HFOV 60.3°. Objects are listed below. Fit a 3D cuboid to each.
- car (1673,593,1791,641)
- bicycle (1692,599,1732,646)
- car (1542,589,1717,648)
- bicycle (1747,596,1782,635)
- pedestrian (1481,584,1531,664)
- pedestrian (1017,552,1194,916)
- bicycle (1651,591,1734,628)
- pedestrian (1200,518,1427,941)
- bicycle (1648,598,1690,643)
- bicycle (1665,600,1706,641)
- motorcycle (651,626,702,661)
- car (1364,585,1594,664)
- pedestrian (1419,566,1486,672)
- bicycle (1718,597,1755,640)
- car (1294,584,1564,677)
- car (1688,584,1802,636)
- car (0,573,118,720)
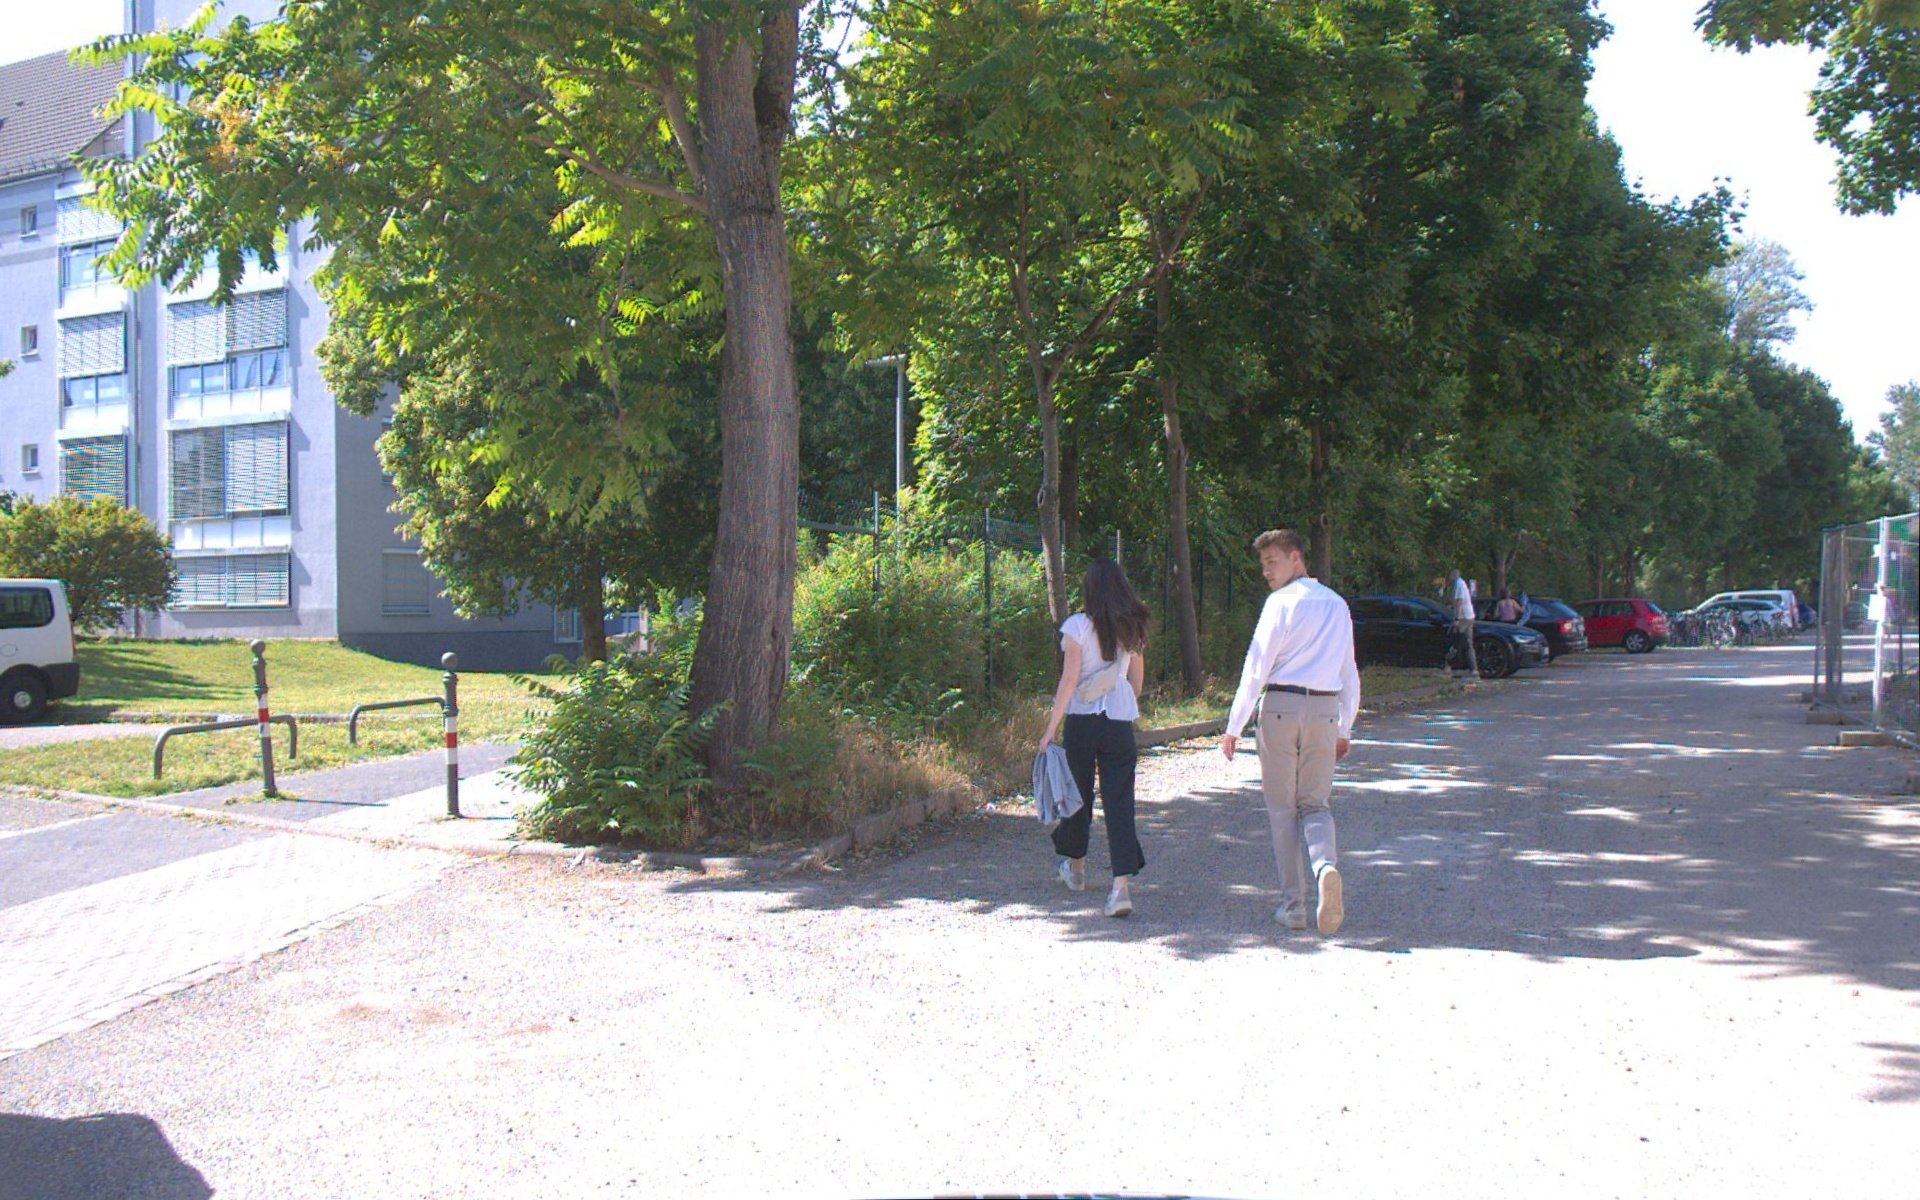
[{"bbox_3d":[30.126,0.642,64.611,3.920,1.803,1.761,0,0,36],"label":"car"},{"bbox_3d":[21.876,0.638,48.094,0.701,1.307,2.677,-1,0,32],"label":"bicycle"},{"bbox_3d":[18.423,0.505,45.559,4.208,1.551,1.888,-1,0,32],"label":"car"},{"bbox_3d":[28.338,0.531,58.228,0.801,1.307,2.739,-1,0,33],"label":"bicycle"},{"bbox_3d":[11.342,0.493,34.345,0.906,1.623,0.785,0,1,25],"label":"pedestrian"},{"bbox_3d":[0.686,0.610,8.023,0.721,1.668,0.780,-1,1,-5],"label":"pedestrian"},{"bbox_3d":[25.918,0.333,58.525,2.623,1.307,0.818,-1,0,27],"label":"bicycle"},{"bbox_3d":[1.546,0.532,7.359,0.740,1.758,0.853,-1,1,-7],"label":"pedestrian"},{"bbox_3d":[21.264,0.597,49.583,0.701,1.307,2.783,-1,0,32],"label":"bicycle"},{"bbox_3d":[23.581,0.655,53.752,0.801,1.307,2.677,-1,0,33],"label":"bicycle"},{"bbox_3d":[-10.723,1.631,62.600,0.617,1.268,2.056,-1,0,34],"label":"motorcycle"},{"bbox_3d":[11.283,0.512,35.984,4.563,1.612,1.999,0,1,25],"label":"car"},{"bbox_3d":[8.601,0.334,28.876,0.993,1.812,0.819,-1,0,24],"label":"pedestrian"},{"bbox_3d":[24.329,0.552,51.819,0.701,1.307,2.630,-1,0,32],"label":"bicycle"},{"bbox_3d":[8.696,0.535,30.669,4.563,1.612,1.999,0,1,25],"label":"car"},{"bbox_3d":[31.826,0.397,67.071,3.920,2.049,1.761,0,0,36],"label":"car"},{"bbox_3d":[-14.121,0.637,21.877,1.959,1.967,5.024,-1,0,34],"label":"car"}]
